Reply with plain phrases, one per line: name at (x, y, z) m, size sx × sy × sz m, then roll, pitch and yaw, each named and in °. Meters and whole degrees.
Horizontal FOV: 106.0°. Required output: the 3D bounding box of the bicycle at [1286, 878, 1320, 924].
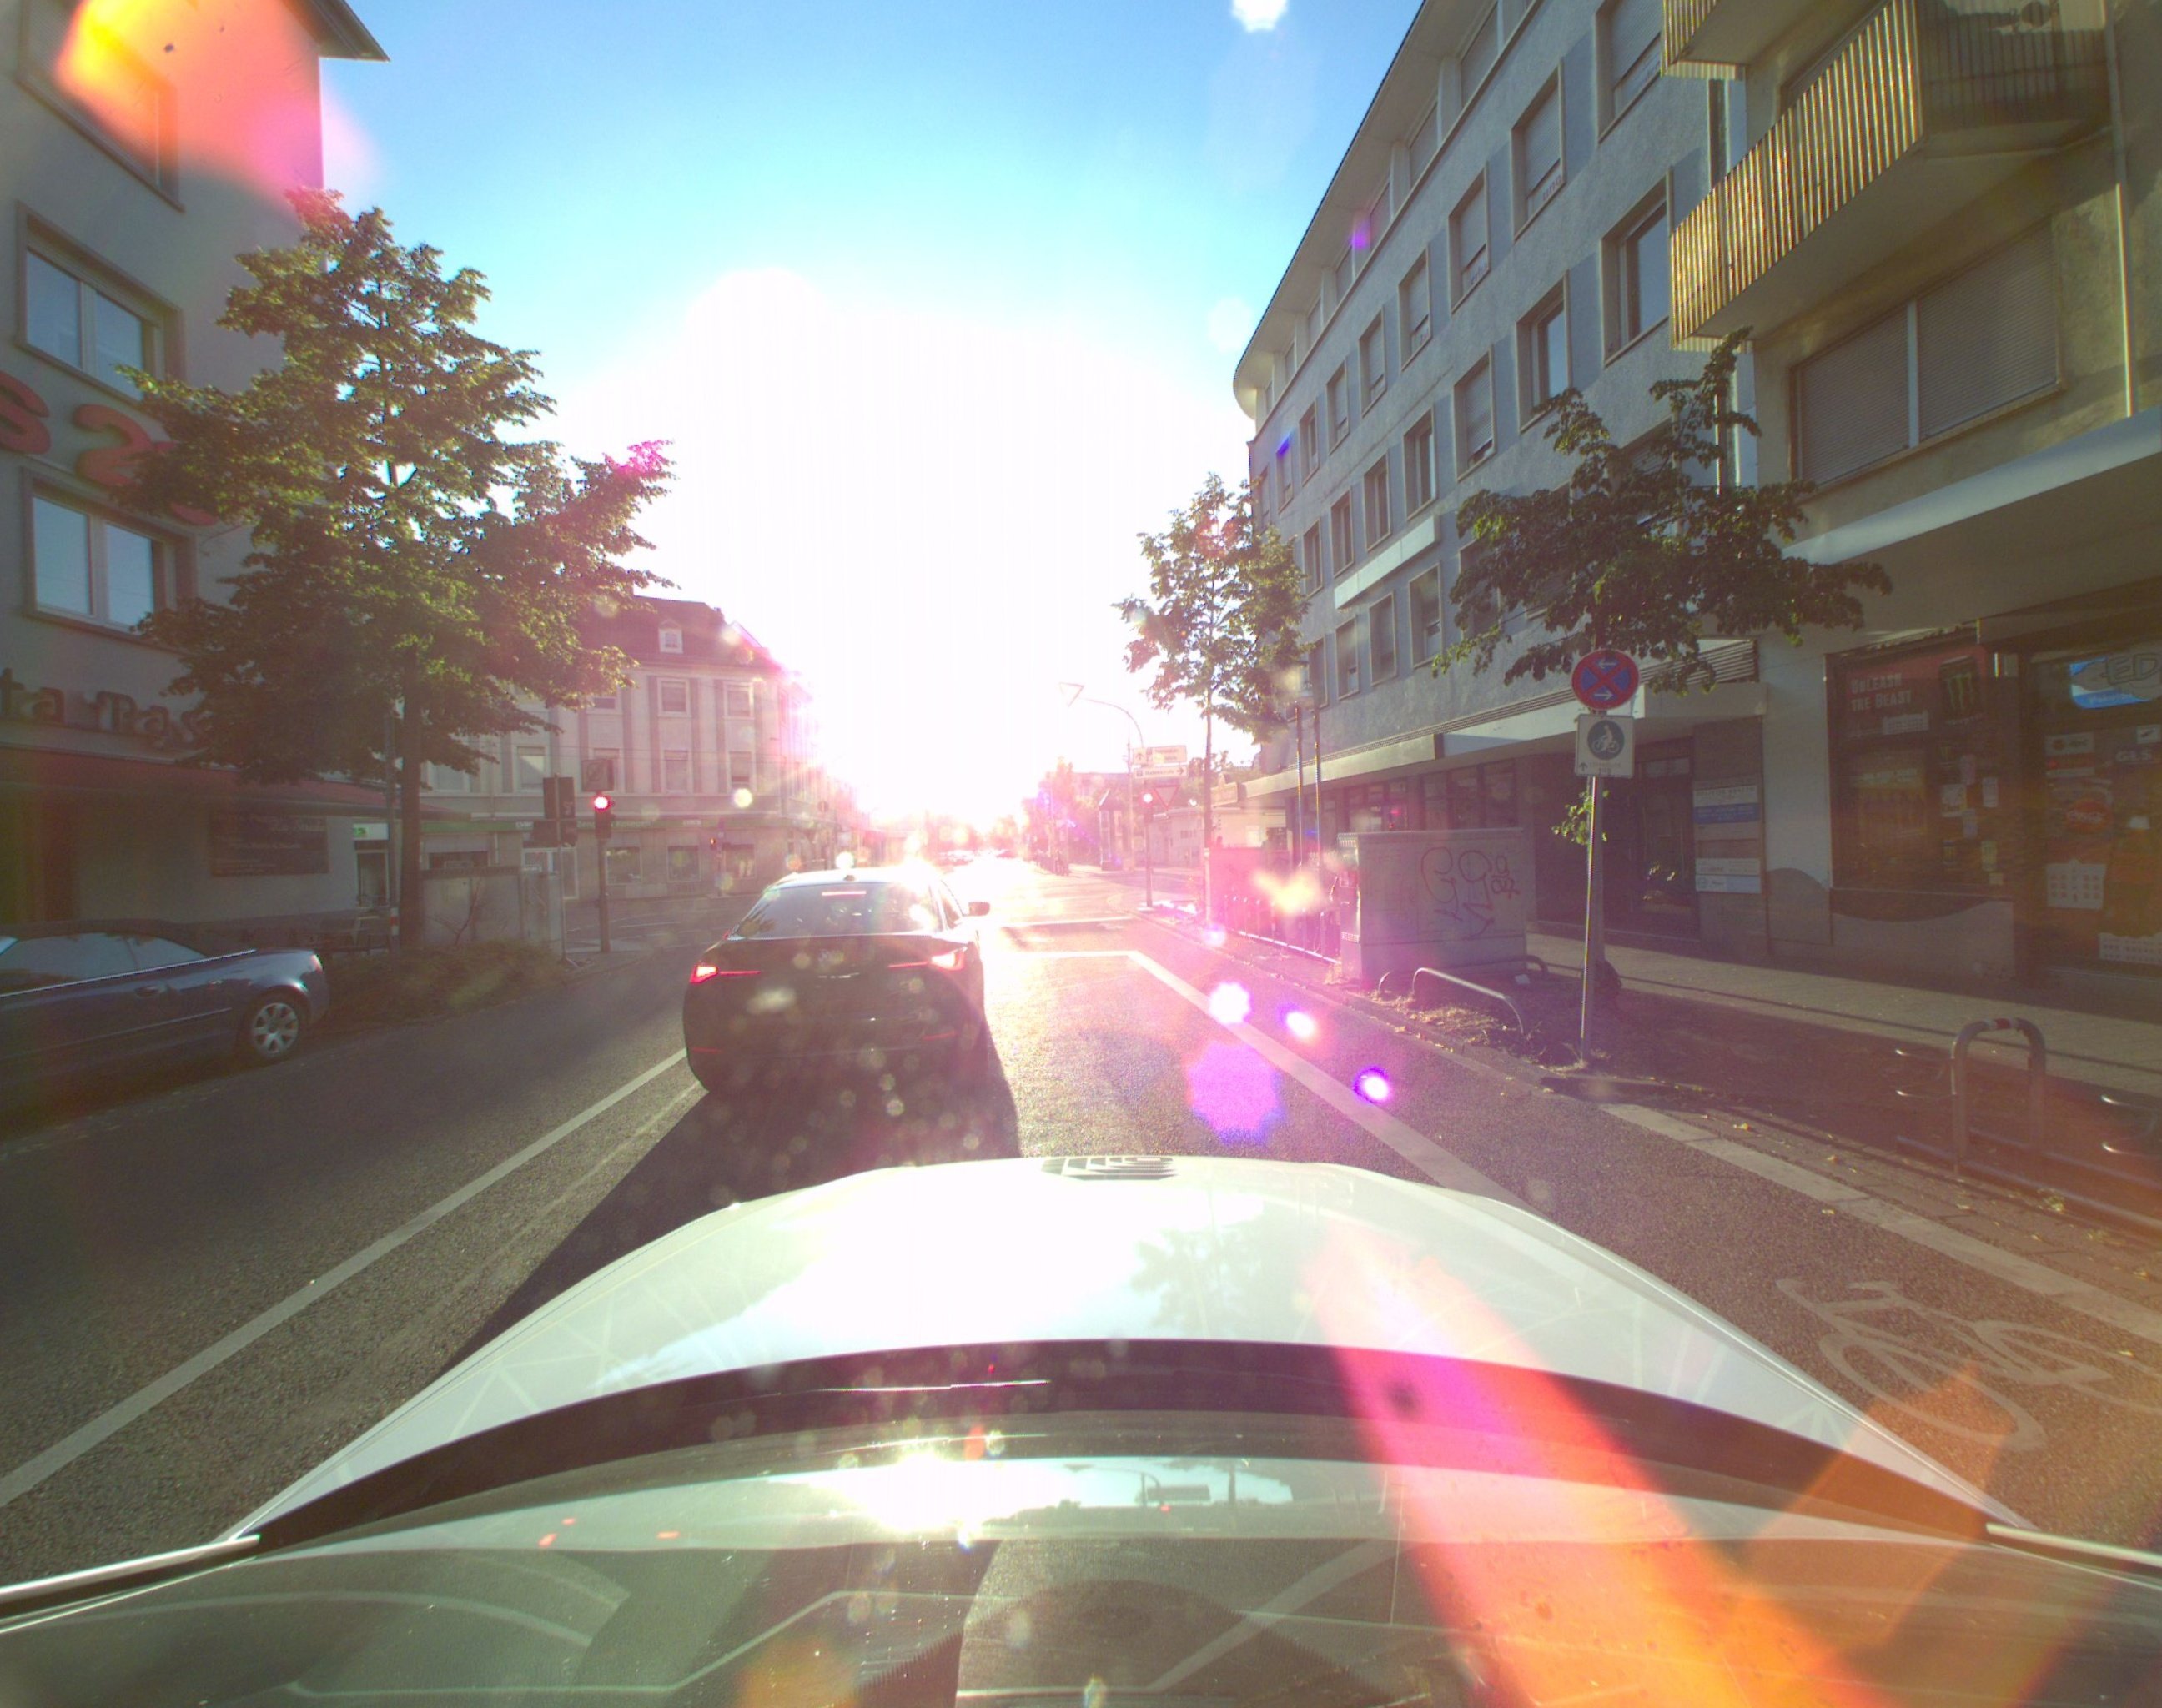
bicycle at (4.172, 0.877, 15.329) m, size 0.249 × 0.796 × 1.114 m, roll 0°, pitch 0°, yaw -4°

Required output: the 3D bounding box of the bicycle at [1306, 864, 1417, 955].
bicycle at (3.908, 0.756, 11.374) m, size 1.438 × 1.220 × 0.383 m, roll 0°, pitch 0°, yaw -5°

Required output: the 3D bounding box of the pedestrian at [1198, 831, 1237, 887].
pedestrian at (4.743, 0.173, 28.285) m, size 1.007 × 1.860 × 0.634 m, roll -5°, pitch 1°, yaw -27°

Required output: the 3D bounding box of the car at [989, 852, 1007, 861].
car at (-16.424, 0.484, 161.093) m, size 1.802 × 1.519 × 4.021 m, roll -2°, pitch 0°, yaw 20°

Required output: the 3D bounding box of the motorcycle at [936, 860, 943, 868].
motorcycle at (-16.472, 1.157, 94.728) m, size 0.574 × 0.915 × 2.196 m, roll 0°, pitch 0°, yaw -6°

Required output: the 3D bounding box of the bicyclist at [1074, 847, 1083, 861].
bicyclist at (-0.246, -0.010, 88.855) m, size 0.879 × 1.505 × 0.613 m, roll 0°, pitch 0°, yaw 5°

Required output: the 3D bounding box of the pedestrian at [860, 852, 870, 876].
pedestrian at (-17.286, 0.778, 65.251) m, size 0.620 × 1.876 × 0.672 m, roll 0°, pitch 0°, yaw -32°

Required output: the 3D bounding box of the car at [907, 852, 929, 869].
car at (-17.515, 0.680, 87.717) m, size 1.816 × 1.788 × 3.992 m, roll -2°, pitch 0°, yaw -6°

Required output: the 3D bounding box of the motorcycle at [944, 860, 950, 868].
motorcycle at (-15.542, 1.150, 94.333) m, size 0.574 × 0.915 × 2.196 m, roll 0°, pitch 0°, yaw -6°

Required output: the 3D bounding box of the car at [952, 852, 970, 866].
car at (-13.989, 0.621, 95.154) m, size 1.816 × 1.519 × 3.992 m, roll -2°, pitch 0°, yaw -6°

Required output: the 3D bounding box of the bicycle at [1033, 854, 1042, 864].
bicycle at (-4.765, 0.544, 88.730) m, size 0.551 × 1.159 × 2.133 m, roll -1°, pitch -1°, yaw -14°

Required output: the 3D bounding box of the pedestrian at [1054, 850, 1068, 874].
pedestrian at (-1.242, 0.492, 50.488) m, size 0.736 × 1.529 × 0.469 m, roll 0°, pitch 0°, yaw -23°

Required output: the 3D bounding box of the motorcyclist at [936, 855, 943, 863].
motorcyclist at (-16.471, 0.626, 94.732) m, size 0.574 × 0.915 × 2.196 m, roll 0°, pitch 0°, yaw -6°

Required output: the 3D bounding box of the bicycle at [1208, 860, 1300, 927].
bicycle at (3.228, 0.729, 15.208) m, size 1.610 × 1.171 × 0.318 m, roll -2°, pitch 0°, yaw -5°

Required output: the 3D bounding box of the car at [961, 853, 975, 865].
car at (-15.774, 0.658, 113.839) m, size 1.816 × 1.519 × 3.992 m, roll -2°, pitch 0°, yaw -6°

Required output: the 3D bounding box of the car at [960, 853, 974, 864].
car at (-17.345, 0.658, 123.864) m, size 1.816 × 1.519 × 3.992 m, roll -2°, pitch 0°, yaw -6°

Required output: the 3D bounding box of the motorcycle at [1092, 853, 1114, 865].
motorcycle at (1.857, 0.445, 68.035) m, size 1.673 × 0.939 × 0.851 m, roll -2°, pitch 0°, yaw -18°

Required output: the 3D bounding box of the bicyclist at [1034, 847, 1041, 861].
bicyclist at (-4.717, 0.016, 88.512) m, size 0.551 × 1.481 × 0.719 m, roll -1°, pitch -1°, yaw -15°

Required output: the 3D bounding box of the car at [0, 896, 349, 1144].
car at (-7.645, 1.155, 5.542) m, size 1.721 × 1.415 × 4.270 m, roll -4°, pitch 0°, yaw -7°

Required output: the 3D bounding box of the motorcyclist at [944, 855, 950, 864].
motorcyclist at (-15.531, 0.618, 94.235) m, size 0.574 × 0.995 × 0.701 m, roll 0°, pitch 0°, yaw -6°

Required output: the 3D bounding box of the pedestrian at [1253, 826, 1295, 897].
pedestrian at (5.133, 0.195, 21.684) m, size 0.834 × 1.841 × 0.677 m, roll -2°, pitch 0°, yaw -6°

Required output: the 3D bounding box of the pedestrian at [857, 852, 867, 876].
pedestrian at (-17.356, 0.779, 64.457) m, size 0.642 × 1.876 × 0.630 m, roll 0°, pitch 0°, yaw -7°

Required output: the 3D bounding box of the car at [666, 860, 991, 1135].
car at (-1.652, 0.799, 6.656) m, size 1.735 × 1.428 × 4.213 m, roll -1°, pitch 0°, yaw -7°
